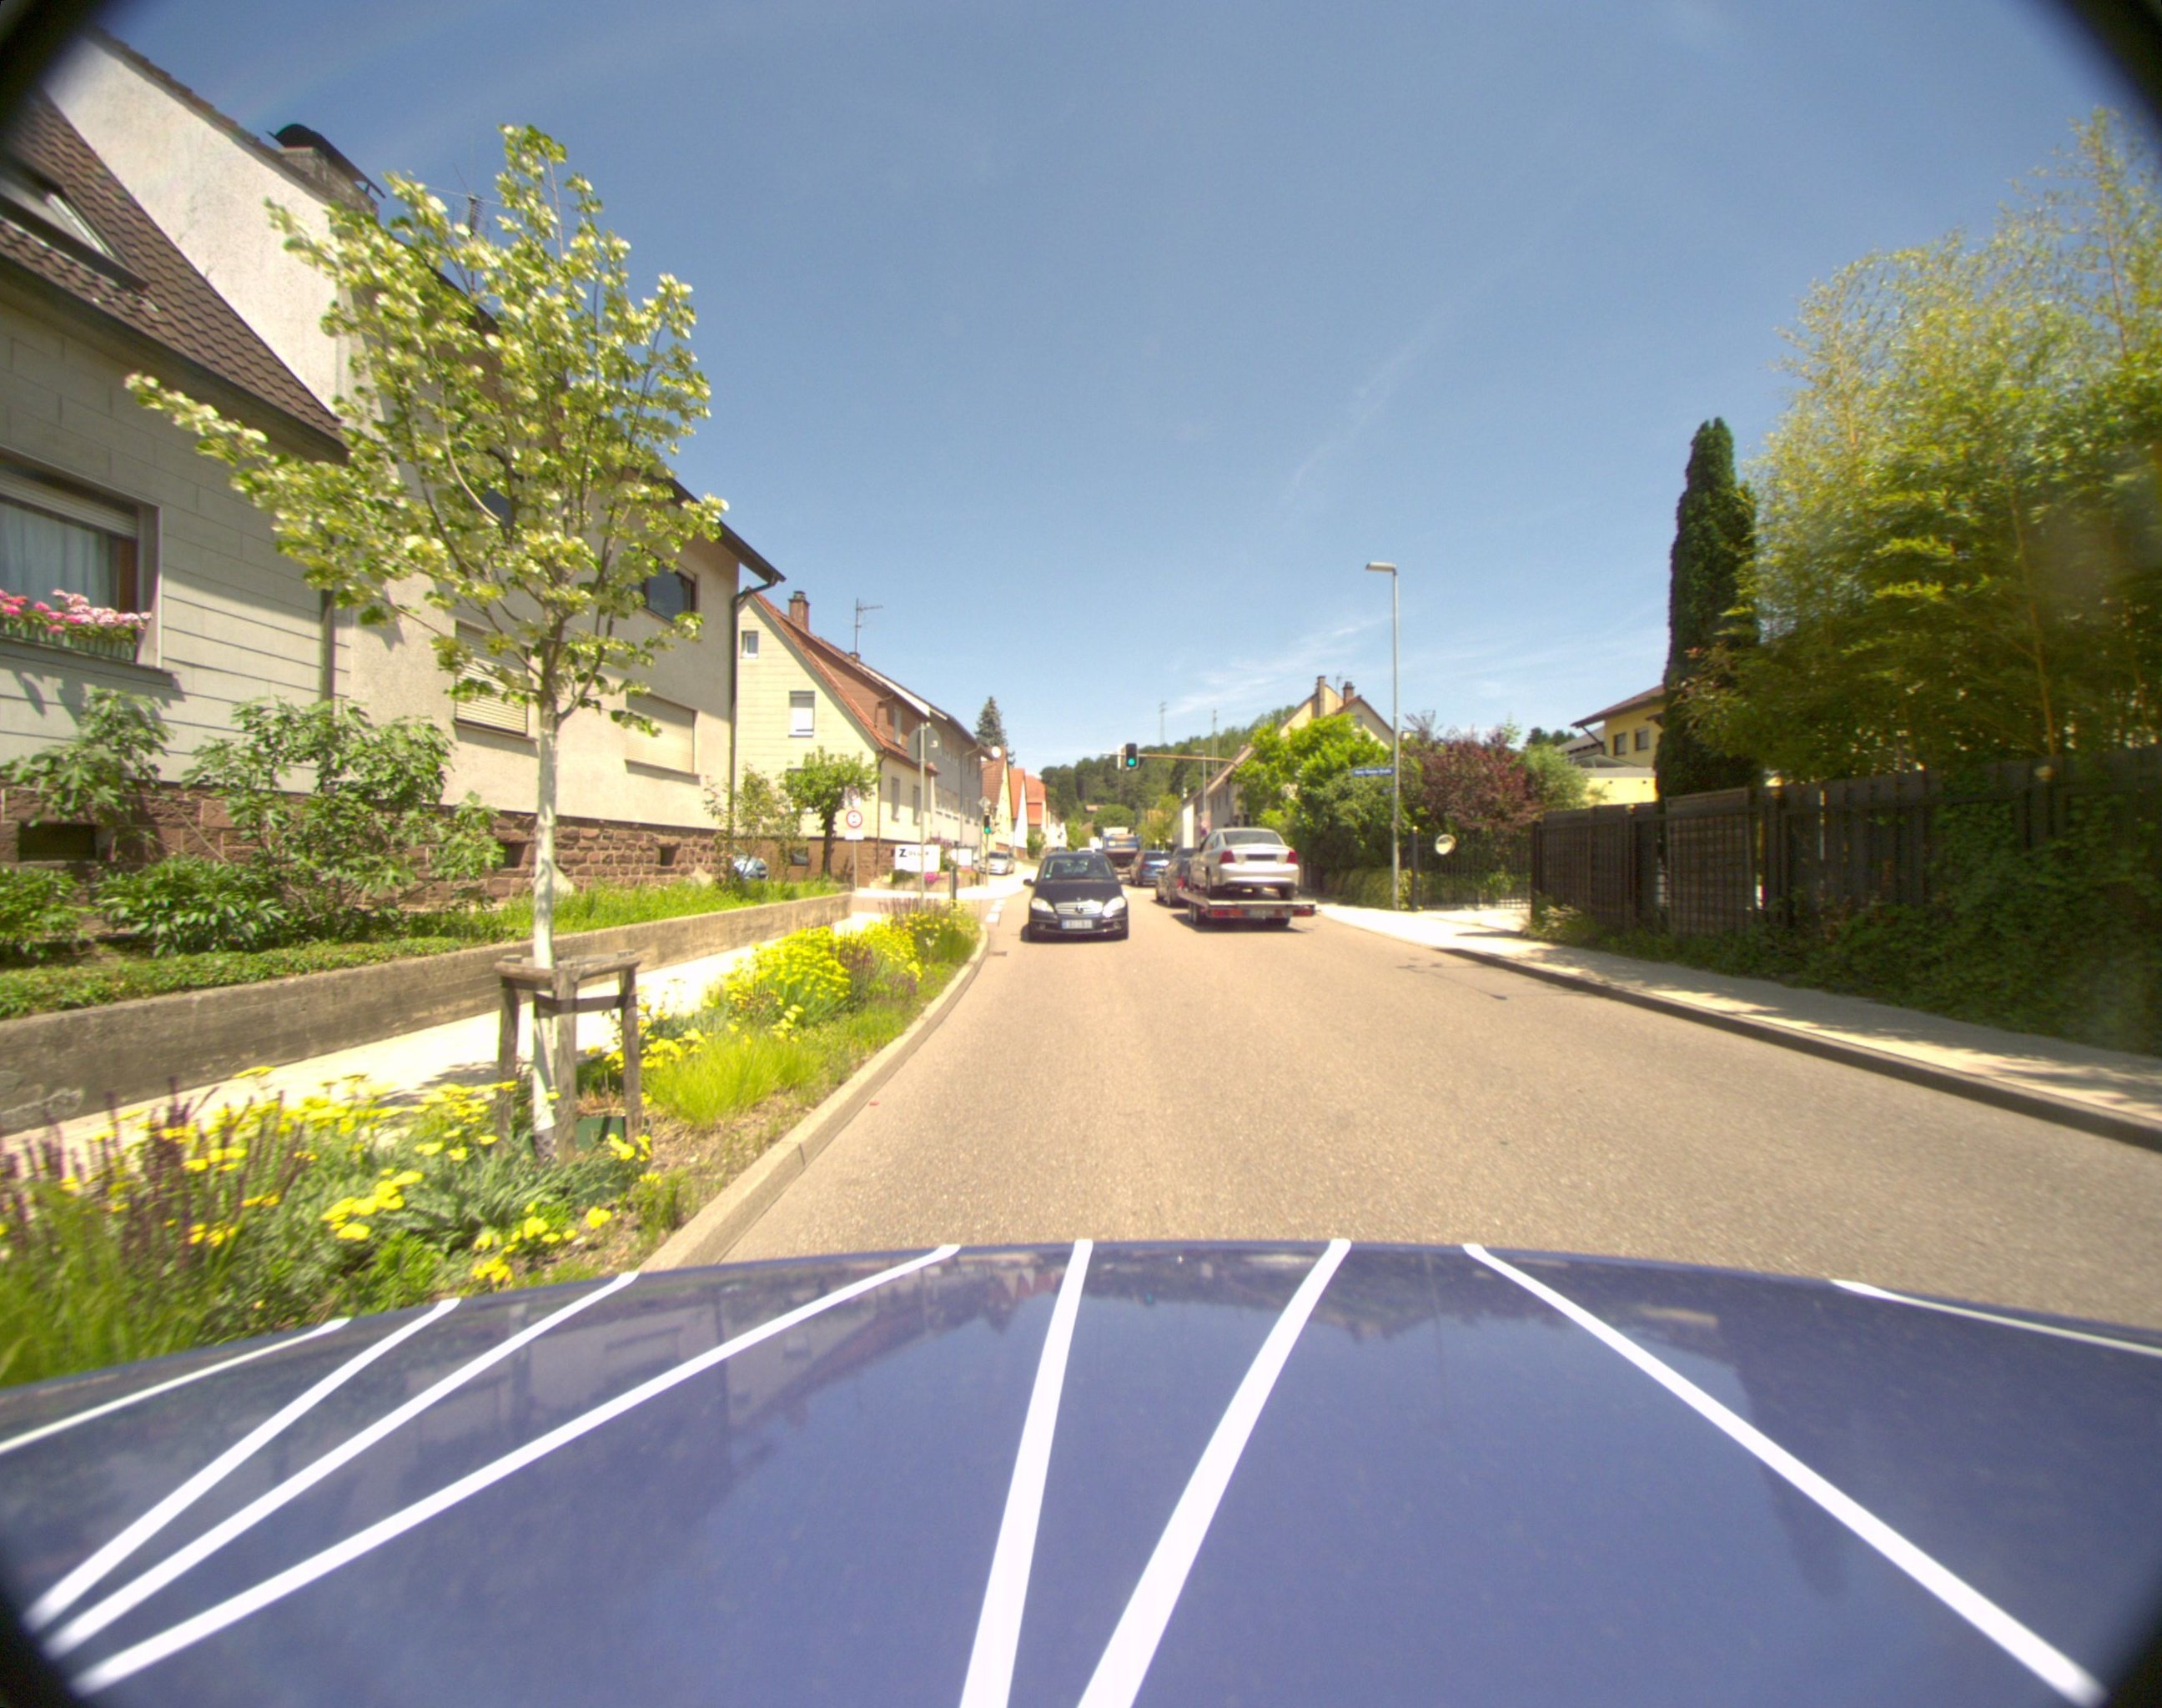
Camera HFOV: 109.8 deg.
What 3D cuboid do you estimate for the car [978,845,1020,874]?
[{"bbox_3d":[-5.161,0.328,48.234,1.867,1.612,4.508,3,1,3],"label":"car"}]

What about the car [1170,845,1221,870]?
[{"bbox_3d":[8.766,0.226,58.358,3.605,1.780,1.848,-2,1,0],"label":"car"}]

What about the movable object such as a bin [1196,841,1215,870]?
[{"bbox_3d":[8.575,0.089,52.460,1.061,2.002,1.323,-2,1,2],"label":"movable object such as a bin"}]

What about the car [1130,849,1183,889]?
[{"bbox_3d":[3.352,0.626,34.588,1.893,1.636,4.612,1,1,0],"label":"car"}]

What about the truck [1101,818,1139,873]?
[{"bbox_3d":[2.917,-0.580,55.917,2.547,3.716,8.623,1,0,3],"label":"truck"}]

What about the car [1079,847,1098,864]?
[{"bbox_3d":[0.810,0.120,81.557,1.998,1.716,4.000,-2,1,0],"label":"car"}]

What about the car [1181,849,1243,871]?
[{"bbox_3d":[9.317,0.429,54.132,4.040,1.491,1.707,-1,2,40],"label":"car"}]

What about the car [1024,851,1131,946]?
[{"bbox_3d":[0.068,0.759,15.333,1.767,1.572,4.932,-2,0,3],"label":"car"}]

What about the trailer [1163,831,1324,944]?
[{"bbox_3d":[3.251,0.552,16.713,2.161,1.975,6.200,-2,1,0],"label":"trailer"}]

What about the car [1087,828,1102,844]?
[{"bbox_3d":[1.901,-2.445,104.414,1.987,2.170,3.999,-2,1,1],"label":"car"}]

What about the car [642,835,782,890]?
[{"bbox_3d":[-11.708,0.233,24.242,3.522,1.484,1.800,3,2,3],"label":"car"}]

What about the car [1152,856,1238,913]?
[{"bbox_3d":[3.150,0.790,21.745,1.771,1.394,4.247,-2,1,0],"label":"car"}]
